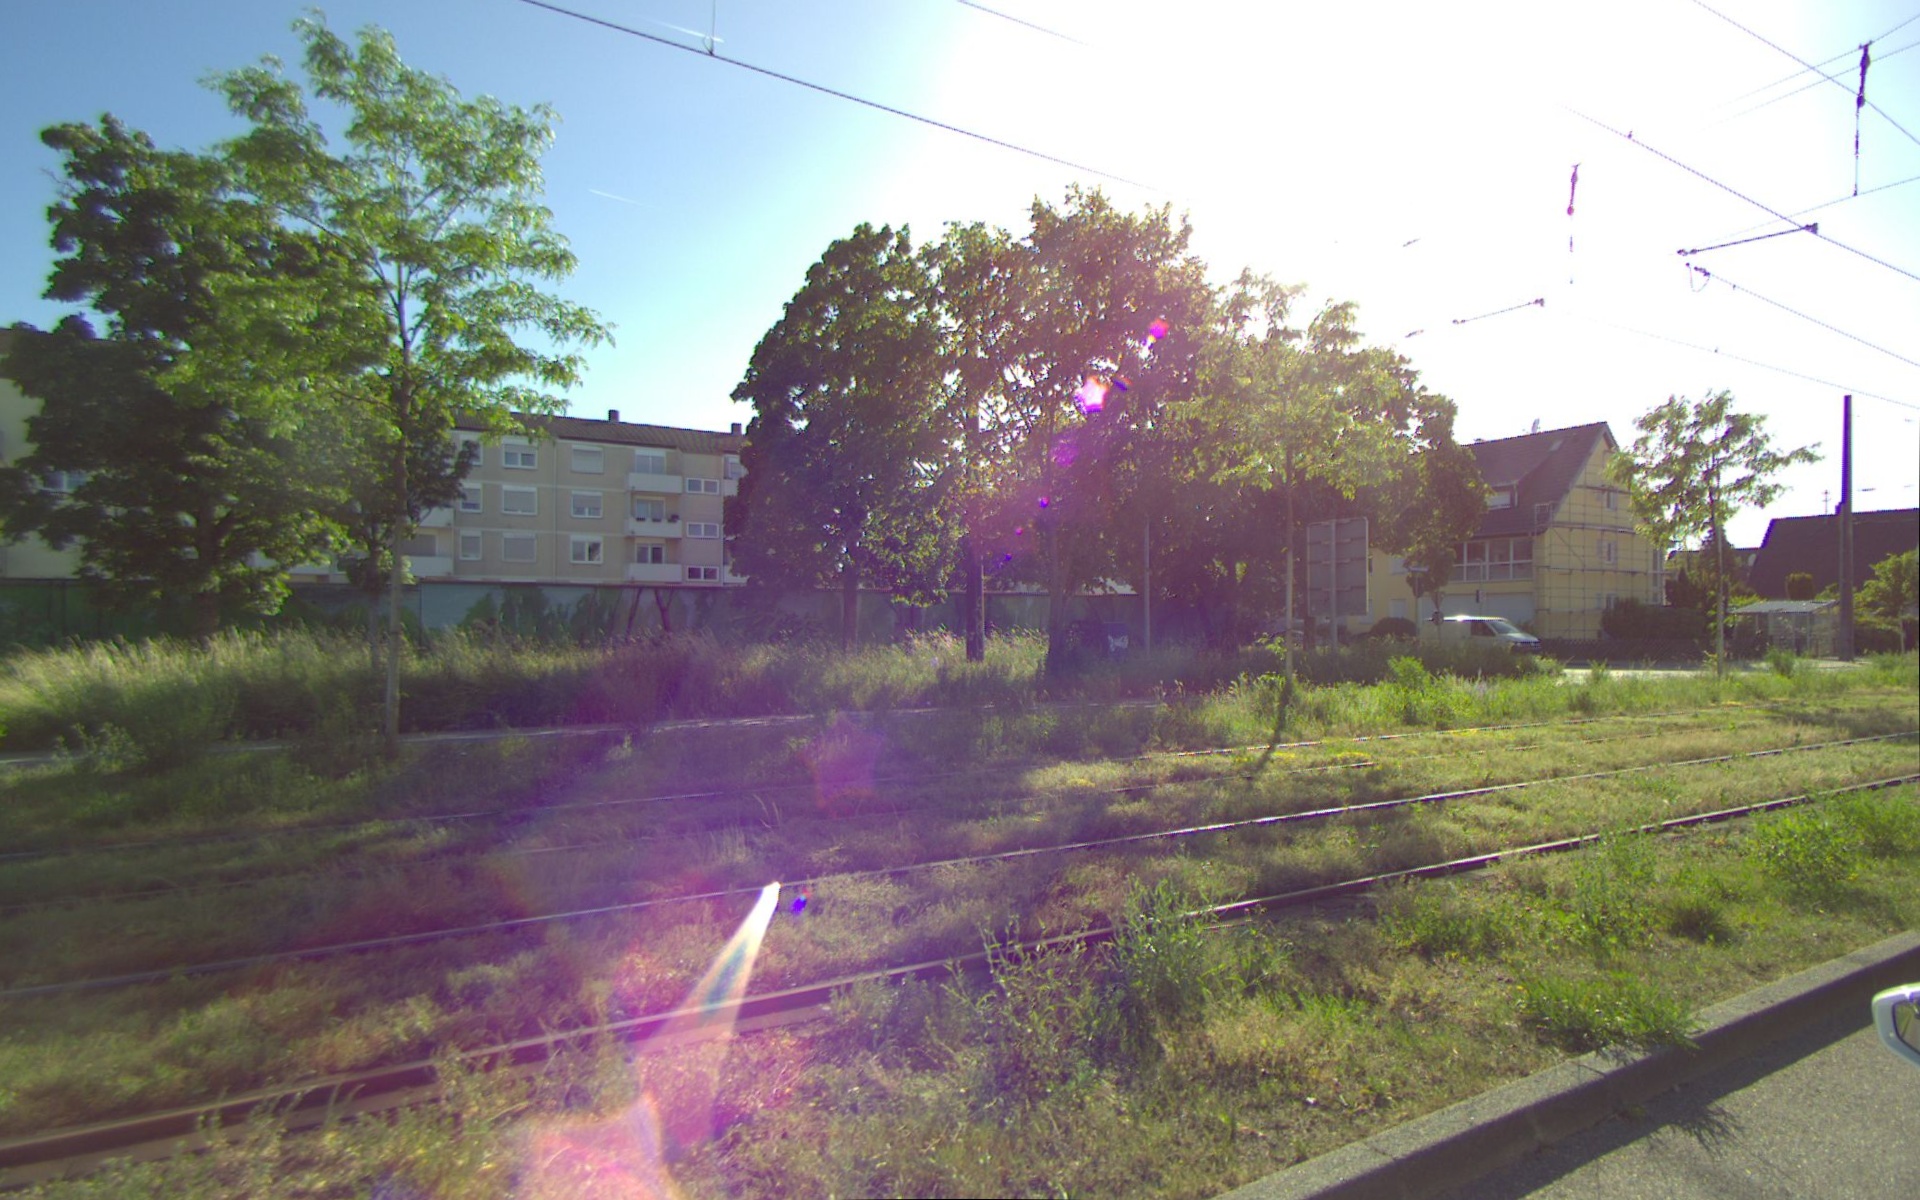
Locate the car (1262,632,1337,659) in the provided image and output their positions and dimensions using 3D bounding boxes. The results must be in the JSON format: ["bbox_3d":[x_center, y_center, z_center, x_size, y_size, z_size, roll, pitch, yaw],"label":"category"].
[{"bbox_3d":[18.126,2.407,53.688,1.542,1.364,3.712,1,-2,-30],"label":"car"}]

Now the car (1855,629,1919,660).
[{"bbox_3d":[55.619,2.586,58.849,2.037,1.757,4.501,1,-2,-41],"label":"car"}]

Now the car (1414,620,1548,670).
[{"bbox_3d":[21.399,1.812,41.470,1.881,1.940,4.666,1,-2,-29],"label":"car"}]
